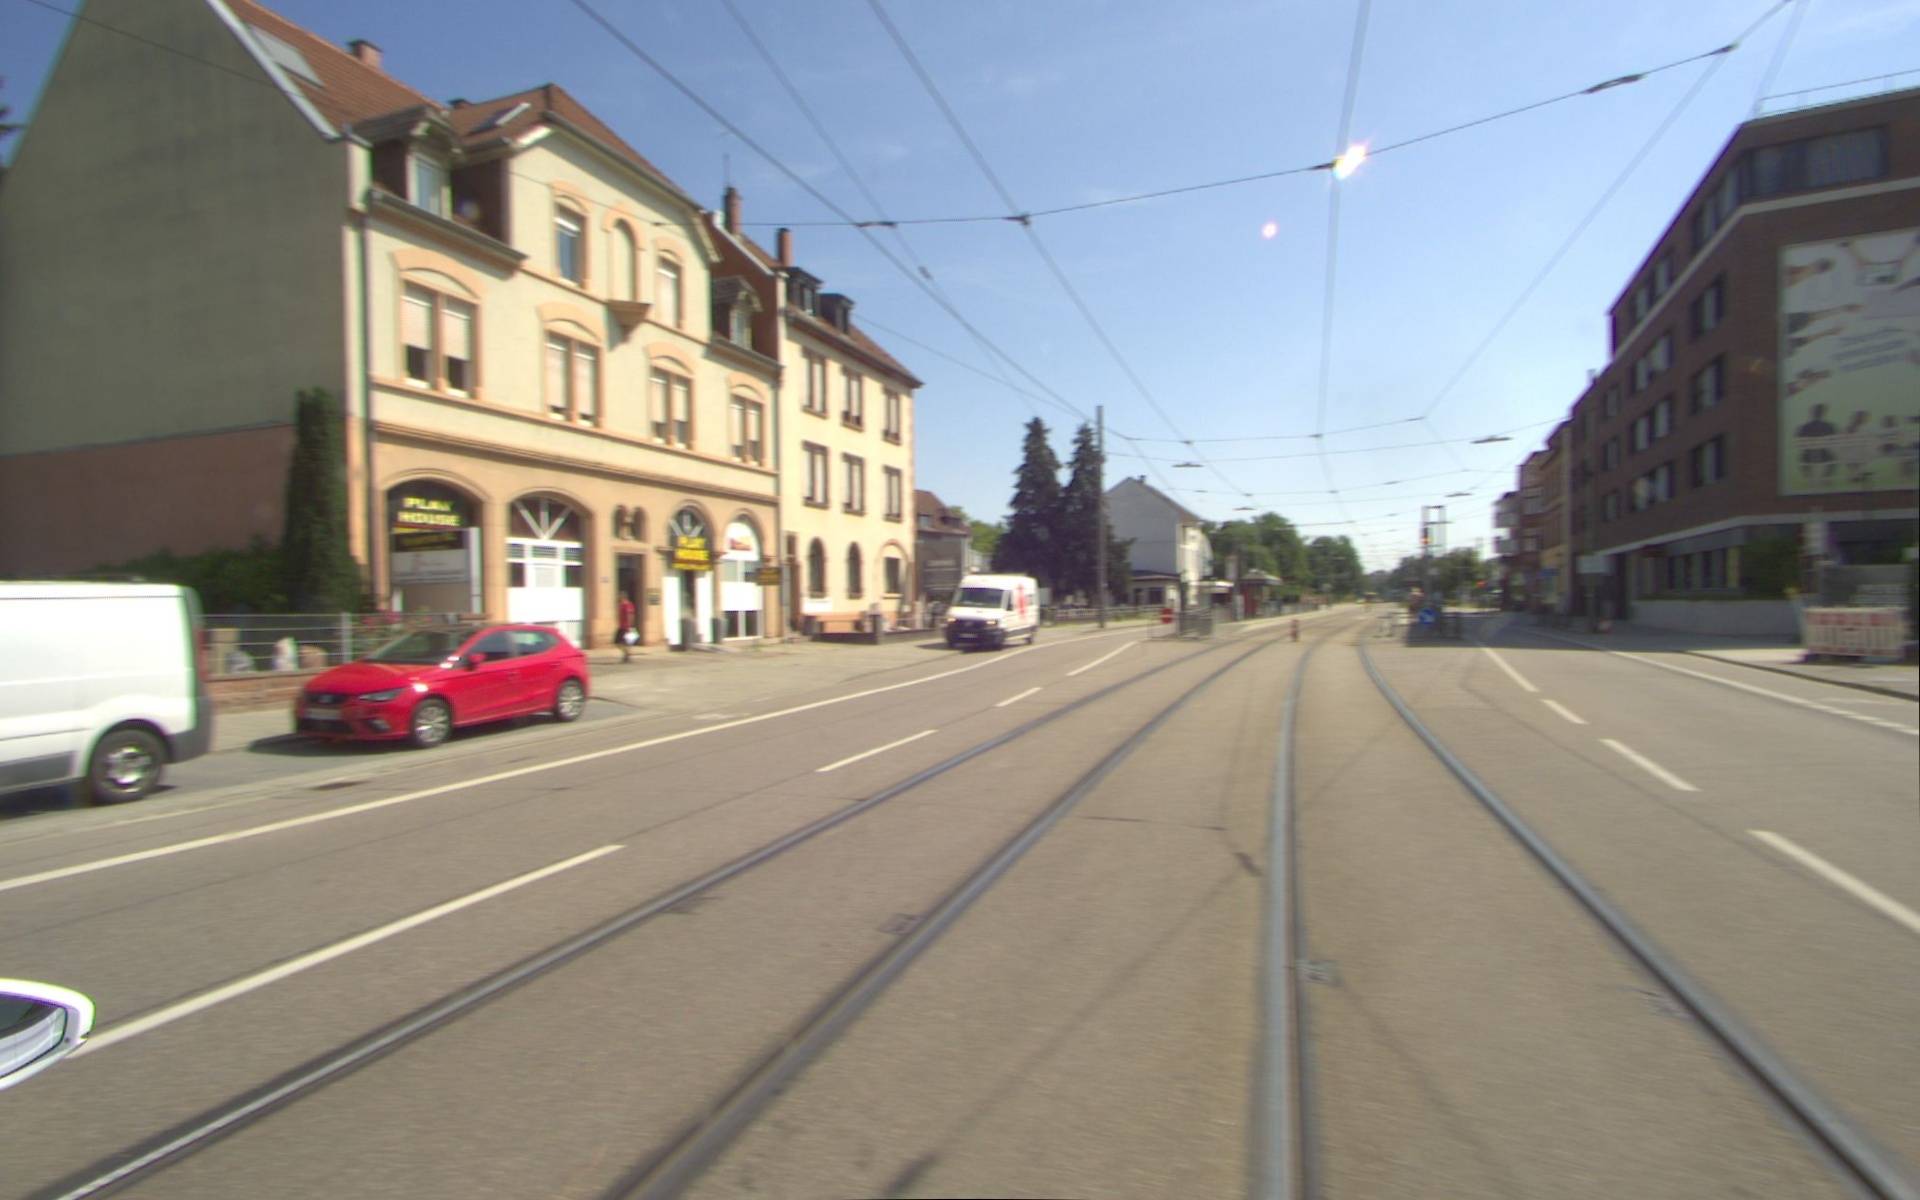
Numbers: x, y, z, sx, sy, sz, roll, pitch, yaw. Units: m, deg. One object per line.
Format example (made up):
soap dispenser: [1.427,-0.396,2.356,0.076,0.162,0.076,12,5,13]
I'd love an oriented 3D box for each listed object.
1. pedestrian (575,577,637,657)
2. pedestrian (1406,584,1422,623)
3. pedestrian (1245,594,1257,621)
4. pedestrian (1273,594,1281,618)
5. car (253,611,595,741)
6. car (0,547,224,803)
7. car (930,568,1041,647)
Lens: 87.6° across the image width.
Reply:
pedestrian: [-8.400,0.396,23.766,1.116,1.839,0.938,-1,1,-38]
pedestrian: [20.805,0.161,45.907,0.548,1.783,0.792,-1,1,18]
pedestrian: [18.912,0.470,65.086,0.695,1.712,0.416,-1,1,16]
pedestrian: [23.666,0.443,74.760,0.408,1.712,0.707,-1,1,10]
car: [-6.886,0.891,13.398,1.694,1.425,3.995,-1,0,17]
car: [-8.817,0.600,7.627,2.053,2.040,4.900,0,0,18]
car: [1.068,0.227,36.133,2.295,2.569,6.495,1,1,17]
